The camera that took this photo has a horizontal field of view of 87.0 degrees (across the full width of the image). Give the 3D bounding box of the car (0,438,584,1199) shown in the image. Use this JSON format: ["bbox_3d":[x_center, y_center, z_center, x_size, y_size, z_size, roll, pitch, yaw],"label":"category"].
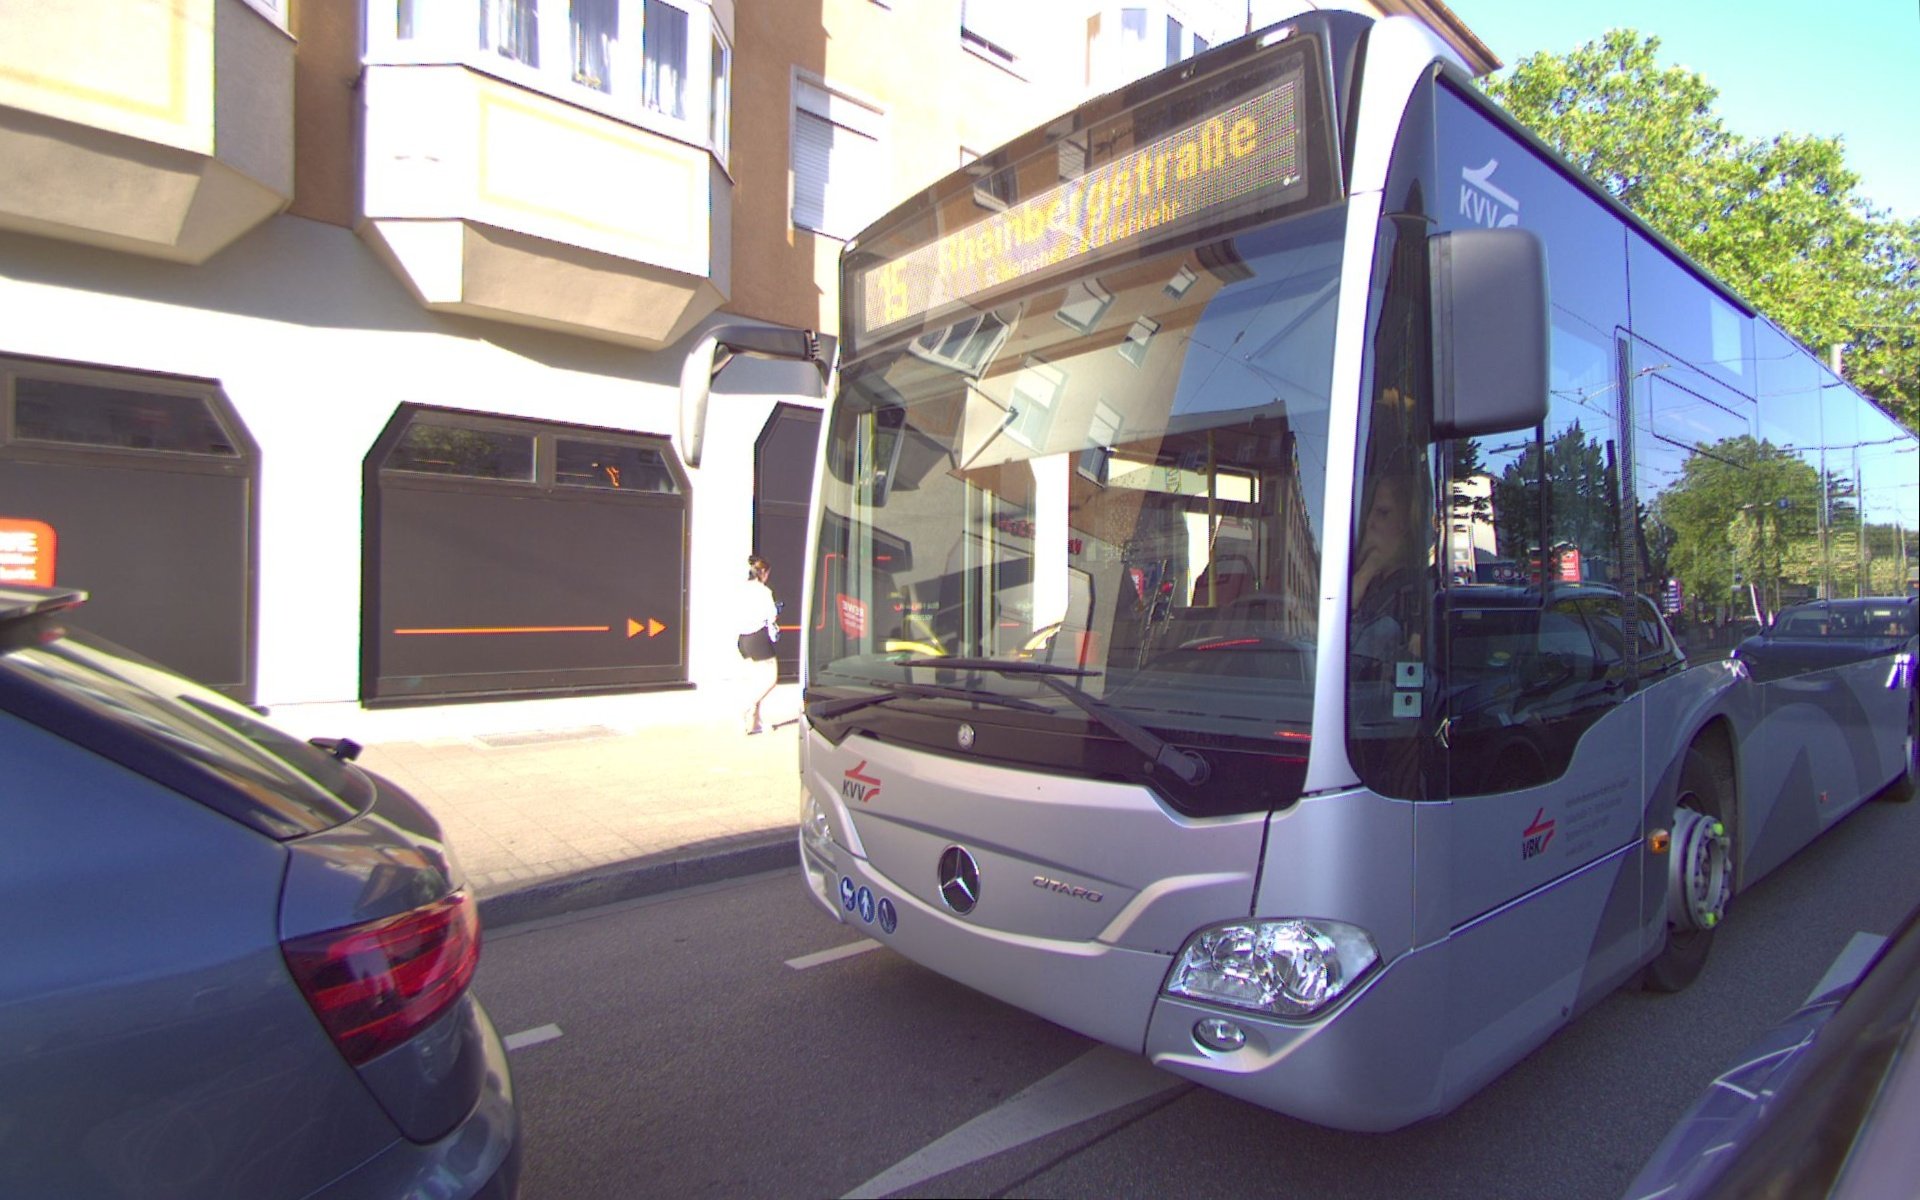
[{"bbox_3d":[-2.613,0.641,0.632,4.151,1.572,1.700,0,-1,-41],"label":"car"}]

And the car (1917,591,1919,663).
[{"bbox_3d":[23.550,0.592,23.452,3.759,1.628,1.747,-1,0,-43],"label":"car"}]

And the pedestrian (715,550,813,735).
[{"bbox_3d":[-1.781,0.357,9.189,0.656,1.603,0.580,0,1,-41],"label":"pedestrian"}]

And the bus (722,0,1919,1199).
[{"bbox_3d":[6.508,-0.231,8.724,17.432,3.189,2.771,0,1,-41],"label":"bus"}]
